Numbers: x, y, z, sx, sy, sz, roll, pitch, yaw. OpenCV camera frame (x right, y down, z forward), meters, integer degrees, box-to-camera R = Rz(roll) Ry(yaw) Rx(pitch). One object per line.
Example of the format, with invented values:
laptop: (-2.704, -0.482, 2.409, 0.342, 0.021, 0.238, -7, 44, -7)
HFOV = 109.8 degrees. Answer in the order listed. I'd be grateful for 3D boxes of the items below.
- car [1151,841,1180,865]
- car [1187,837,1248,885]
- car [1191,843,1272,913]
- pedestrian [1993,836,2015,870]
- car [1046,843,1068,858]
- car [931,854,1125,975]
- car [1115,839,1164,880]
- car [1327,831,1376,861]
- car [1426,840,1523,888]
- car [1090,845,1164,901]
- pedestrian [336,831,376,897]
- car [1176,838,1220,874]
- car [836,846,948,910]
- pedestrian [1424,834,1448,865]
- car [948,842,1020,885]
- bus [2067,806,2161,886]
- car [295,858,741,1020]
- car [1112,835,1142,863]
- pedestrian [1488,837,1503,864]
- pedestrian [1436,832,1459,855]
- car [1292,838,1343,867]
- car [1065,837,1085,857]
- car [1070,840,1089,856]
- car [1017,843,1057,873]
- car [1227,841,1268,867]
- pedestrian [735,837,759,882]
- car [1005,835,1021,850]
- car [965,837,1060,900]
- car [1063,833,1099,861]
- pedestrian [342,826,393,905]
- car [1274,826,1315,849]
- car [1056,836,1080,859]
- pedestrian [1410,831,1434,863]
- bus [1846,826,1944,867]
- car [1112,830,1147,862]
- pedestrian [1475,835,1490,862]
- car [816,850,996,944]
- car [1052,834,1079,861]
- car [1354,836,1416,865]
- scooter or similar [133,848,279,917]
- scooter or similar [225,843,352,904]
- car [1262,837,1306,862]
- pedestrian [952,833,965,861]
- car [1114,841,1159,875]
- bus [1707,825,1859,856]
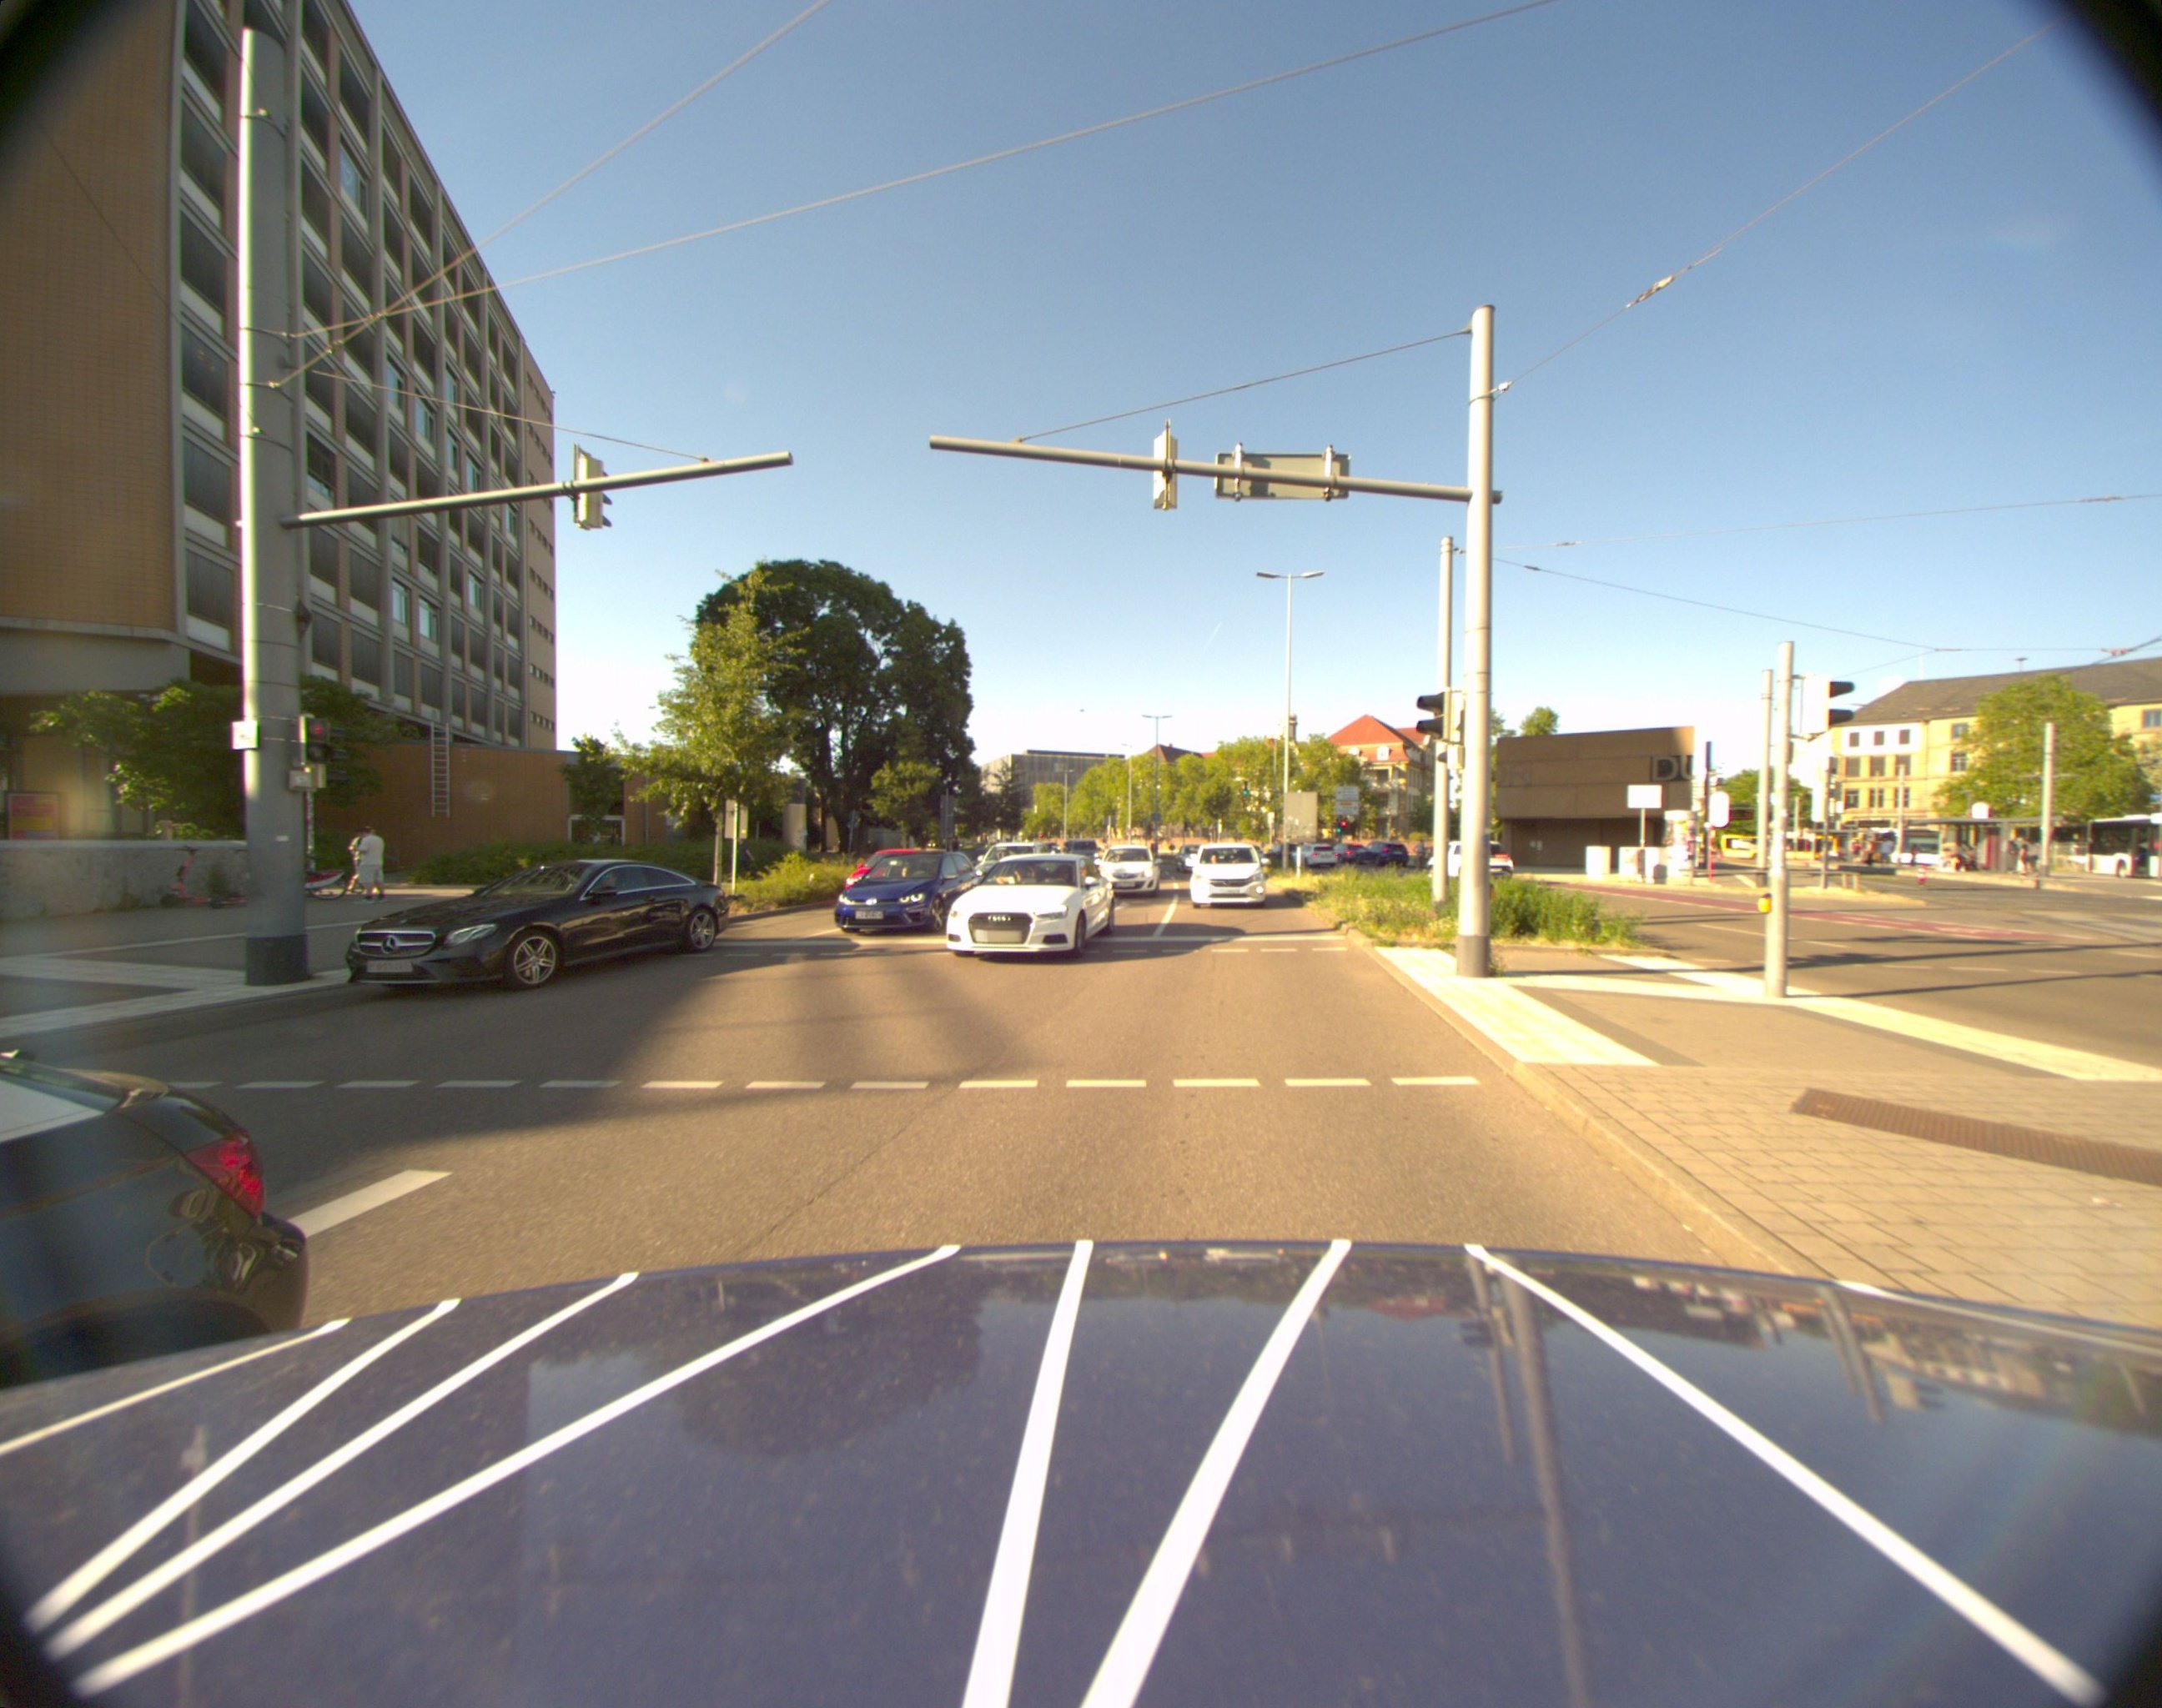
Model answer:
car: (6.282, -0.134, 56.591, 1.997, 1.667, 4.284, 1, 1, 6)
car: (5.120, 0.192, 29.033, 1.997, 1.667, 4.284, 1, 1, 6)
car: (3.597, 0.500, 18.524, 1.719, 1.484, 3.872, -1, 1, 9)
pedestrian: (47.009, -0.057, 38.683, 0.499, 1.692, 0.500, -2, 1, 12)
car: (-2.909, -0.383, 89.630, 2.000, 1.674, 4.703, -2, 1, -8)
car: (-0.564, 0.746, 11.693, 1.823, 1.380, 4.461, 1, 1, 12)
car: (2.597, 0.210, 34.179, 1.998, 1.674, 4.000, -2, 1, 4)
car: (19.024, -0.595, 53.626, 1.998, 2.002, 3.999, 0, 1, 1)
car: (14.245, 0.307, 27.737, 1.720, 1.621, 3.870, -1, 1, 3)
car: (1.439, 0.480, 22.134, 1.782, 1.455, 3.917, 1, 1, 9)
pedestrian: (-18.283, 0.256, 19.175, 0.427, 1.626, 0.504, -2, 1, -1)
car: (5.956, 0.051, 39.100, 1.998, 1.667, 4.284, 1, 1, 5)
car: (-5.074, 0.581, 20.953, 1.754, 1.456, 4.019, 1, 3, 5)
pedestrian: (20.463, -0.271, 43.851, 0.805, 1.758, 0.972, -2, 1, -11)
car: (-3.783, 0.329, 30.253, 1.754, 1.456, 4.020, 1, 3, 9)
bus: (45.188, -0.375, 30.768, 2.834, 3.176, 12.684, -1, 1, 36)
car: (-6.738, 0.862, 9.941, 1.815, 1.484, 4.657, -1, 1, 10)
car: (3.390, -0.407, 56.922, 1.999, 2.002, 3.999, 0, 1, 0)
pedestrian: (28.136, -0.223, 51.541, 0.802, 1.758, 0.975, -1, 1, 32)
pedestrian: (24.964, -0.696, 51.735, 0.805, 1.559, 1.178, -2, 1, -11)
car: (14.411, -0.123, 46.480, 1.857, 1.621, 3.869, -3, 1, 0)
car: (-0.617, -0.718, 75.754, 1.999, 2.002, 3.998, 0, 1, -1)
car: (-0.187, -0.740, 97.733, 2.000, 2.002, 3.996, 0, 1, -7)
car: (-2.643, 0.210, 46.498, 1.821, 1.718, 4.001, 0, 1, 6)
car: (11.316, -0.047, 51.787, 1.857, 1.621, 3.869, -3, 1, 0)
pedestrian: (-12.083, 0.193, 27.493, 0.573, 1.626, 0.504, -2, 1, -1)
car: (-13.095, -2.303, 145.820, 2.154, 2.851, 4.962, 0, 1, -17)
car: (-1.834, 0.335, 21.652, 1.998, 1.597, 4.001, 0, 1, 5)
car: (0.054, -0.472, 48.128, 1.821, 1.718, 4.001, 1, 1, 6)
pedestrian: (-15.780, 0.254, 16.809, 0.485, 1.702, 0.625, -2, 1, 27)
car: (16.238, -1.257, 57.892, 1.858, 1.621, 3.869, -3, 1, -2)
car: (-1.079, -0.593, 66.122, 1.999, 2.002, 3.999, 0, 1, 0)
pedestrian: (19.598, -0.400, 43.724, 0.805, 1.758, 0.962, -2, 1, -11)
bus: (69.089, -0.752, 64.827, 3.242, 3.176, 12.684, -2, 1, 36)
car: (3.096, -0.551, 49.299, 1.999, 2.002, 3.999, 0, 1, 0)
pedestrian: (27.145, -0.352, 51.376, 0.802, 1.758, 0.975, -1, 1, 32)
car: (-3.185, 0.717, 14.955, 1.815, 1.484, 4.656, -1, 1, 9)
car: (-1.199, -0.506, 58.755, 1.999, 2.002, 3.999, 0, 1, 0)
car: (19.075, -0.230, 47.825, 1.864, 1.621, 4.034, -3, 1, -6)
scooter or similar: (-17.335, 0.546, 15.123, 1.711, 1.240, 0.798, -3, 1, -36)
scooter or similar: (-17.341, 0.404, 16.664, 0.798, 1.240, 1.833, -1, 1, 41)
car: (14.101, -0.331, 52.888, 1.858, 1.621, 3.869, -3, 1, -2)
pedestrian: (-7.337, -0.407, 45.634, 0.565, 1.652, 0.592, -2, 1, 6)
car: (2.883, 0.175, 40.265, 1.998, 1.674, 3.999, -2, 1, 0)
bus: (82.124, -1.527, 89.346, 3.256, 3.176, 12.629, -3, 1, -34)
